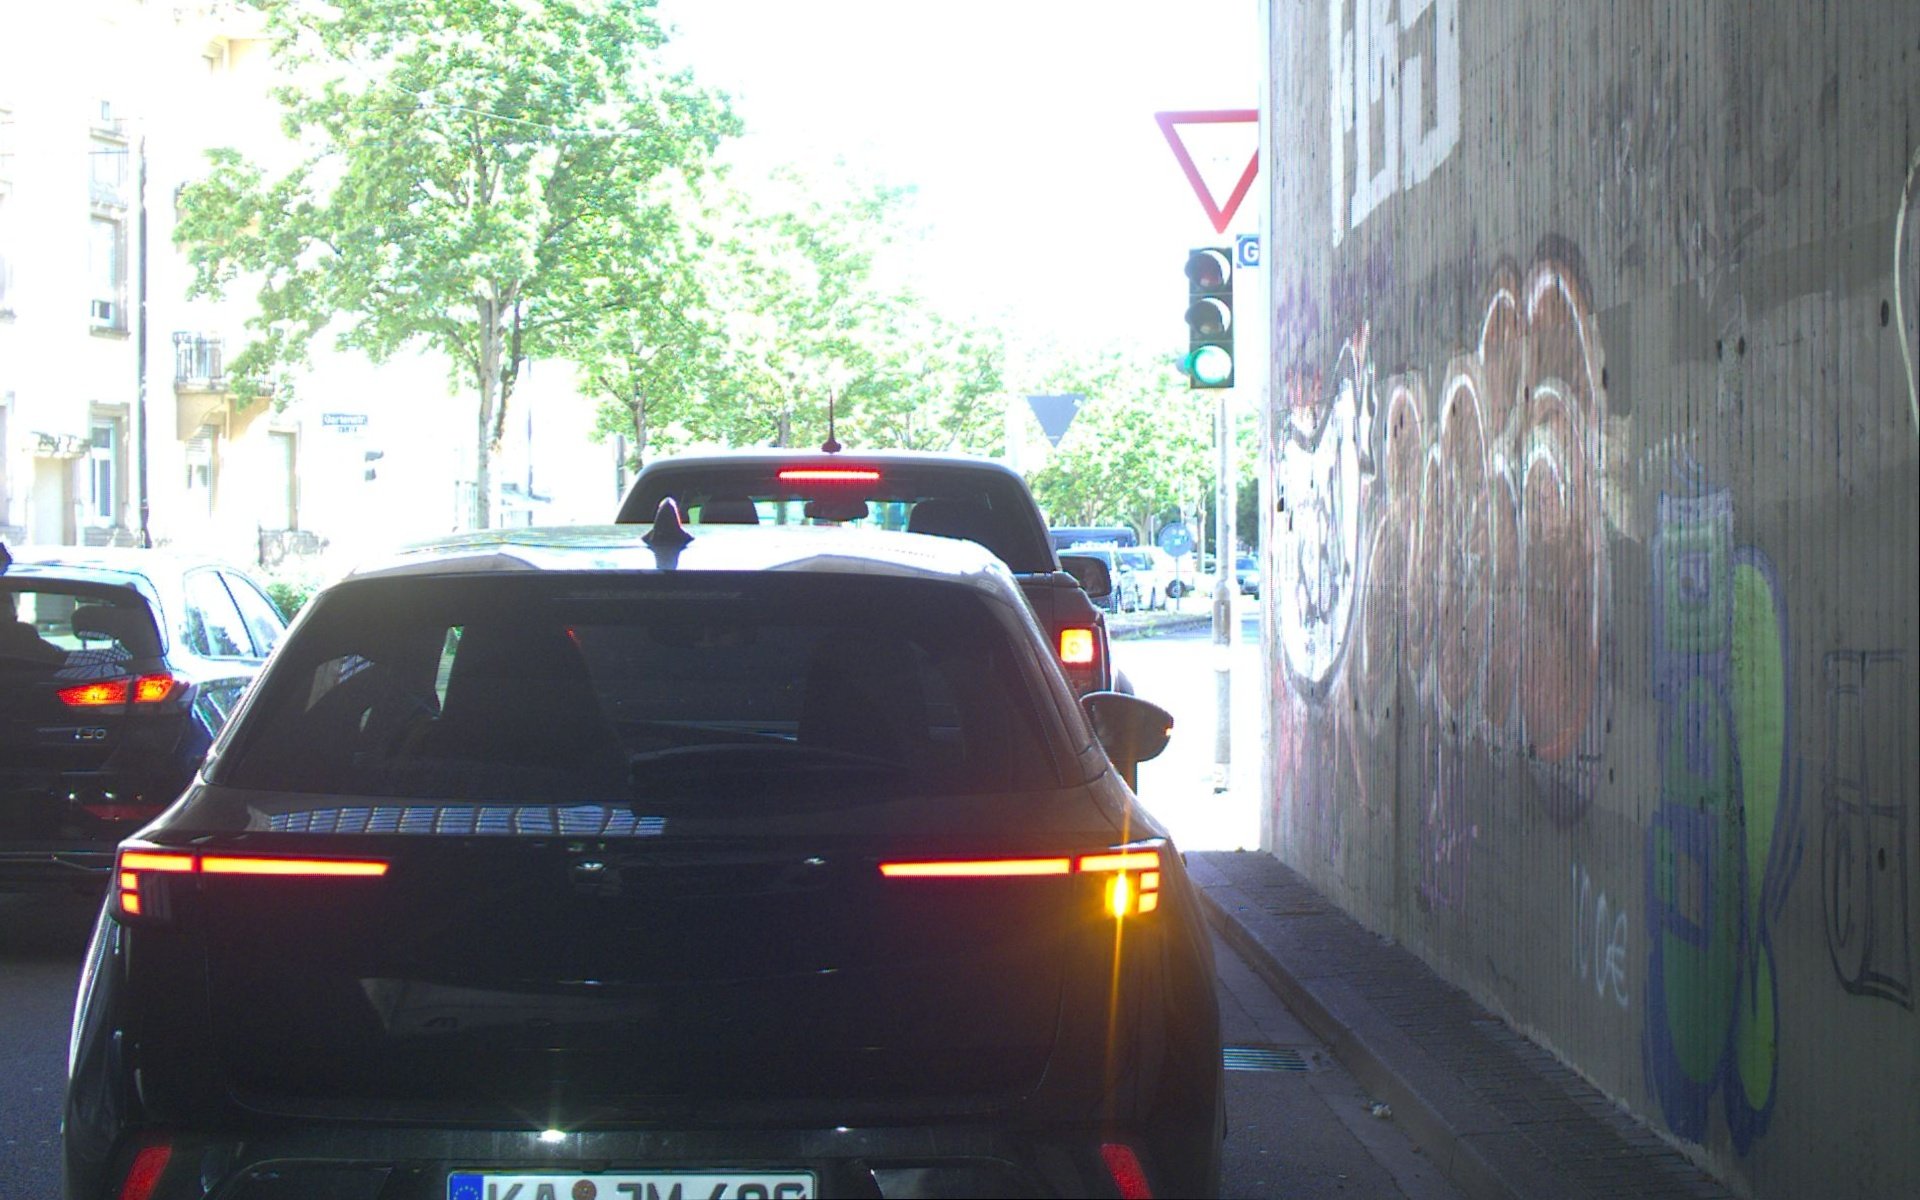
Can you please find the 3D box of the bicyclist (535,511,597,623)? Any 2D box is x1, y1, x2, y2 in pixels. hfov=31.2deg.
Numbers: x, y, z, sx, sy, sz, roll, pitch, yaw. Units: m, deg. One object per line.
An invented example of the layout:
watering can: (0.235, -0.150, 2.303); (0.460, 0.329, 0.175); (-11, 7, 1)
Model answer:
bicyclist: (-5.876, -0.493, 51.268); (0.782, 1.654, 1.031); (0, 1, 1)

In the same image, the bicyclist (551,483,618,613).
bicyclist: (-5.036, -0.706, 46.132); (0.745, 1.705, 0.967); (0, 3, 2)

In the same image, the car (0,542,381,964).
car: (-3.563, 0.498, 14.035); (1.801, 1.446, 4.327); (0, 1, -2)

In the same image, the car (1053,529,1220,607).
car: (5.951, -1.077, 116.125); (5.259, 2.537, 1.986); (-1, 0, -15)

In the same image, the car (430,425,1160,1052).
car: (-0.500, 0.362, 12.557); (2.133, 1.829, 4.941); (0, 1, 0)

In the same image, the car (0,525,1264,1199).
car: (-0.503, 0.627, 6.574); (1.781, 1.512, 3.756); (0, 1, -1)

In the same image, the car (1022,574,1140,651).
car: (2.440, 0.220, 68.404); (1.708, 1.447, 3.849); (0, 1, 12)

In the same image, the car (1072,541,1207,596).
car: (7.003, -1.223, 134.064); (4.883, 2.076, 1.986); (-1, 0, -25)

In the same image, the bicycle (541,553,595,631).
bicycle: (-5.828, -0.136, 51.181); (0.541, 1.119, 2.058); (0, 1, 1)

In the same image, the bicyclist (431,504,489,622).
bicyclist: (-6.945, -0.517, 47.790); (0.606, 1.627, 0.910); (0, 1, 5)

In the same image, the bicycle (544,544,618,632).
bicycle: (-5.066, -0.171, 46.051); (0.698, 1.086, 1.860); (0, 3, 3)

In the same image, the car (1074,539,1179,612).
car: (3.670, -0.559, 75.249); (1.705, 1.507, 3.861); (-2, 1, 11)

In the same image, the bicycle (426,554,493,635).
bicycle: (-6.936, -0.091, 47.711); (0.525, 1.086, 1.860); (0, 1, 5)

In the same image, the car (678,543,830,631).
car: (-3.501, -0.242, 58.972); (1.658, 1.436, 3.461); (0, 1, 14)
